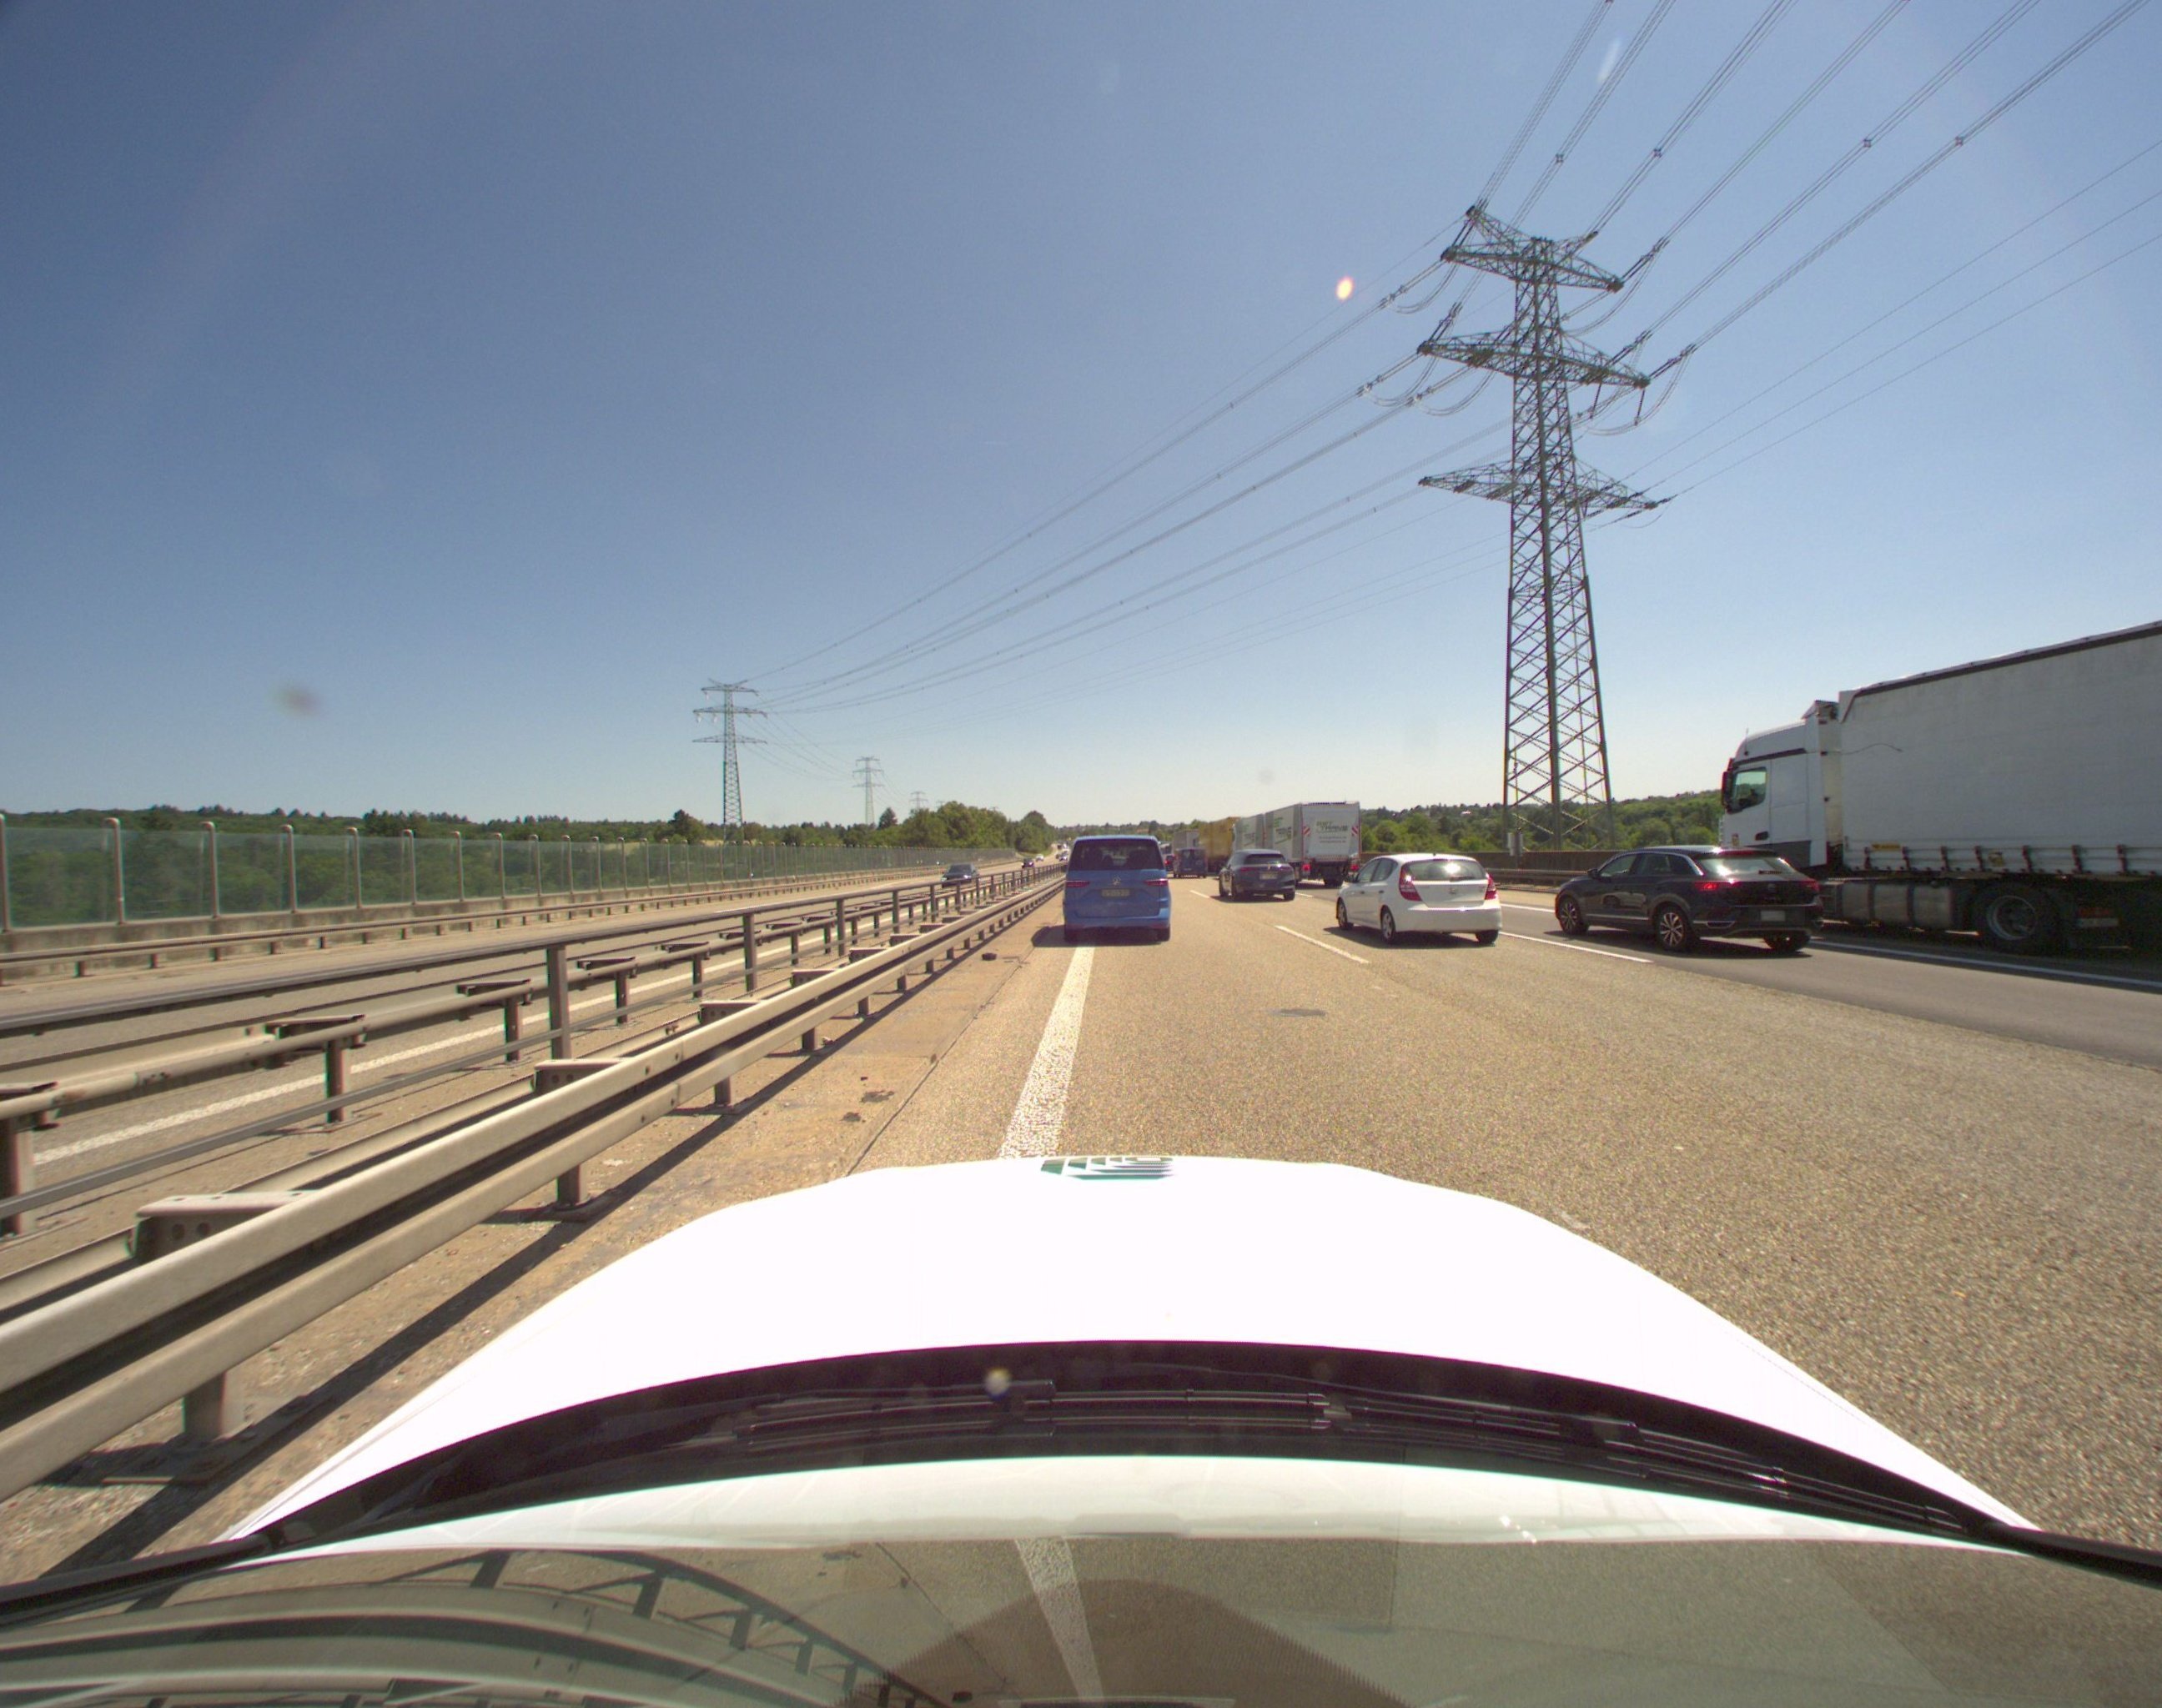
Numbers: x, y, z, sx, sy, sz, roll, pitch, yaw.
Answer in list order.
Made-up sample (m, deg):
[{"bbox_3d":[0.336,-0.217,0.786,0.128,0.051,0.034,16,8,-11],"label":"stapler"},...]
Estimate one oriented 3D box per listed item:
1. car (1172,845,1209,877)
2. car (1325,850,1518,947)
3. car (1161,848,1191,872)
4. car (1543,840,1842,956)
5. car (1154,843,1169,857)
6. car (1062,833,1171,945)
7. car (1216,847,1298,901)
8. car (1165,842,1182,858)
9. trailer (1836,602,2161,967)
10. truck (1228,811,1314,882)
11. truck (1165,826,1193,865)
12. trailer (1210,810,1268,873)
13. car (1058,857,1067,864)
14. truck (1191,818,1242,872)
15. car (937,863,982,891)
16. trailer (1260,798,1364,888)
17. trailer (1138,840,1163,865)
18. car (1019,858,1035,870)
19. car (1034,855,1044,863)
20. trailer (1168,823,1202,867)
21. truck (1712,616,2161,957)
[{"bbox_3d":[7.184,0.465,53.726,1.954,1.993,4.295,-1,0,2],"label":"car"},{"bbox_3d":[5.887,0.696,14.710,1.782,1.455,4.295,-1,0,2],"label":"car"},{"bbox_3d":[7.547,0.460,65.028,1.986,1.816,4.002,-1,0,2],"label":"car"},{"bbox_3d":[9.264,0.593,12.840,1.729,1.527,4.108,0,0,2],"label":"car"},{"bbox_3d":[12.363,-0.644,125.278,1.986,2.013,4.463,-2,0,2],"label":"car"},{"bbox_3d":[0.664,0.591,15.621,1.813,1.857,4.076,0,0,2],"label":"car"},{"bbox_3d":[5.901,0.632,27.752,1.954,1.644,4.295,-1,0,2],"label":"car"},{"bbox_3d":[12.196,-0.480,107.345,1.986,2.014,4.002,0,-1,2],"label":"car"},{"bbox_3d":[13.514,-0.807,6.584,2.704,4.141,13.430,-1,0,2],"label":"trailer"},{"bbox_3d":[10.777,-0.387,47.534,2.647,3.648,11.013,-1,0,1],"label":"truck"},{"bbox_3d":[11.550,-0.920,96.503,2.657,4.484,6.852,0,-1,2],"label":"truck"},{"bbox_3d":[11.521,-0.819,60.259,2.854,4.239,9.015,0,-1,2],"label":"trailer"},{"bbox_3d":[-4.333,1.517,190.465,1.799,1.627,4.479,-1,0,1],"label":"car"},{"bbox_3d":[11.559,-0.711,70.298,2.825,4.243,11.013,0,0,1],"label":"truck"},{"bbox_3d":[-6.956,1.281,47.101,1.761,1.419,4.268,-3,0,2],"label":"car"},{"bbox_3d":[10.519,-0.471,38.045,2.688,3.700,8.017,-1,0,1],"label":"trailer"},{"bbox_3d":[8.542,-0.143,100.555,2.559,2.990,10.668,0,0,2],"label":"trailer"},{"bbox_3d":[-8.314,1.581,126.405,1.987,1.672,4.187,-4,0,1],"label":"car"},{"bbox_3d":[-10.942,1.323,213.195,1.986,1.885,5.257,-4,0,1],"label":"car"},{"bbox_3d":[11.341,-0.876,89.459,2.627,4.516,11.305,0,0,2],"label":"trailer"},{"bbox_3d":[13.711,-0.802,12.964,2.682,4.142,6.161,0,-1,2],"label":"truck"}]
